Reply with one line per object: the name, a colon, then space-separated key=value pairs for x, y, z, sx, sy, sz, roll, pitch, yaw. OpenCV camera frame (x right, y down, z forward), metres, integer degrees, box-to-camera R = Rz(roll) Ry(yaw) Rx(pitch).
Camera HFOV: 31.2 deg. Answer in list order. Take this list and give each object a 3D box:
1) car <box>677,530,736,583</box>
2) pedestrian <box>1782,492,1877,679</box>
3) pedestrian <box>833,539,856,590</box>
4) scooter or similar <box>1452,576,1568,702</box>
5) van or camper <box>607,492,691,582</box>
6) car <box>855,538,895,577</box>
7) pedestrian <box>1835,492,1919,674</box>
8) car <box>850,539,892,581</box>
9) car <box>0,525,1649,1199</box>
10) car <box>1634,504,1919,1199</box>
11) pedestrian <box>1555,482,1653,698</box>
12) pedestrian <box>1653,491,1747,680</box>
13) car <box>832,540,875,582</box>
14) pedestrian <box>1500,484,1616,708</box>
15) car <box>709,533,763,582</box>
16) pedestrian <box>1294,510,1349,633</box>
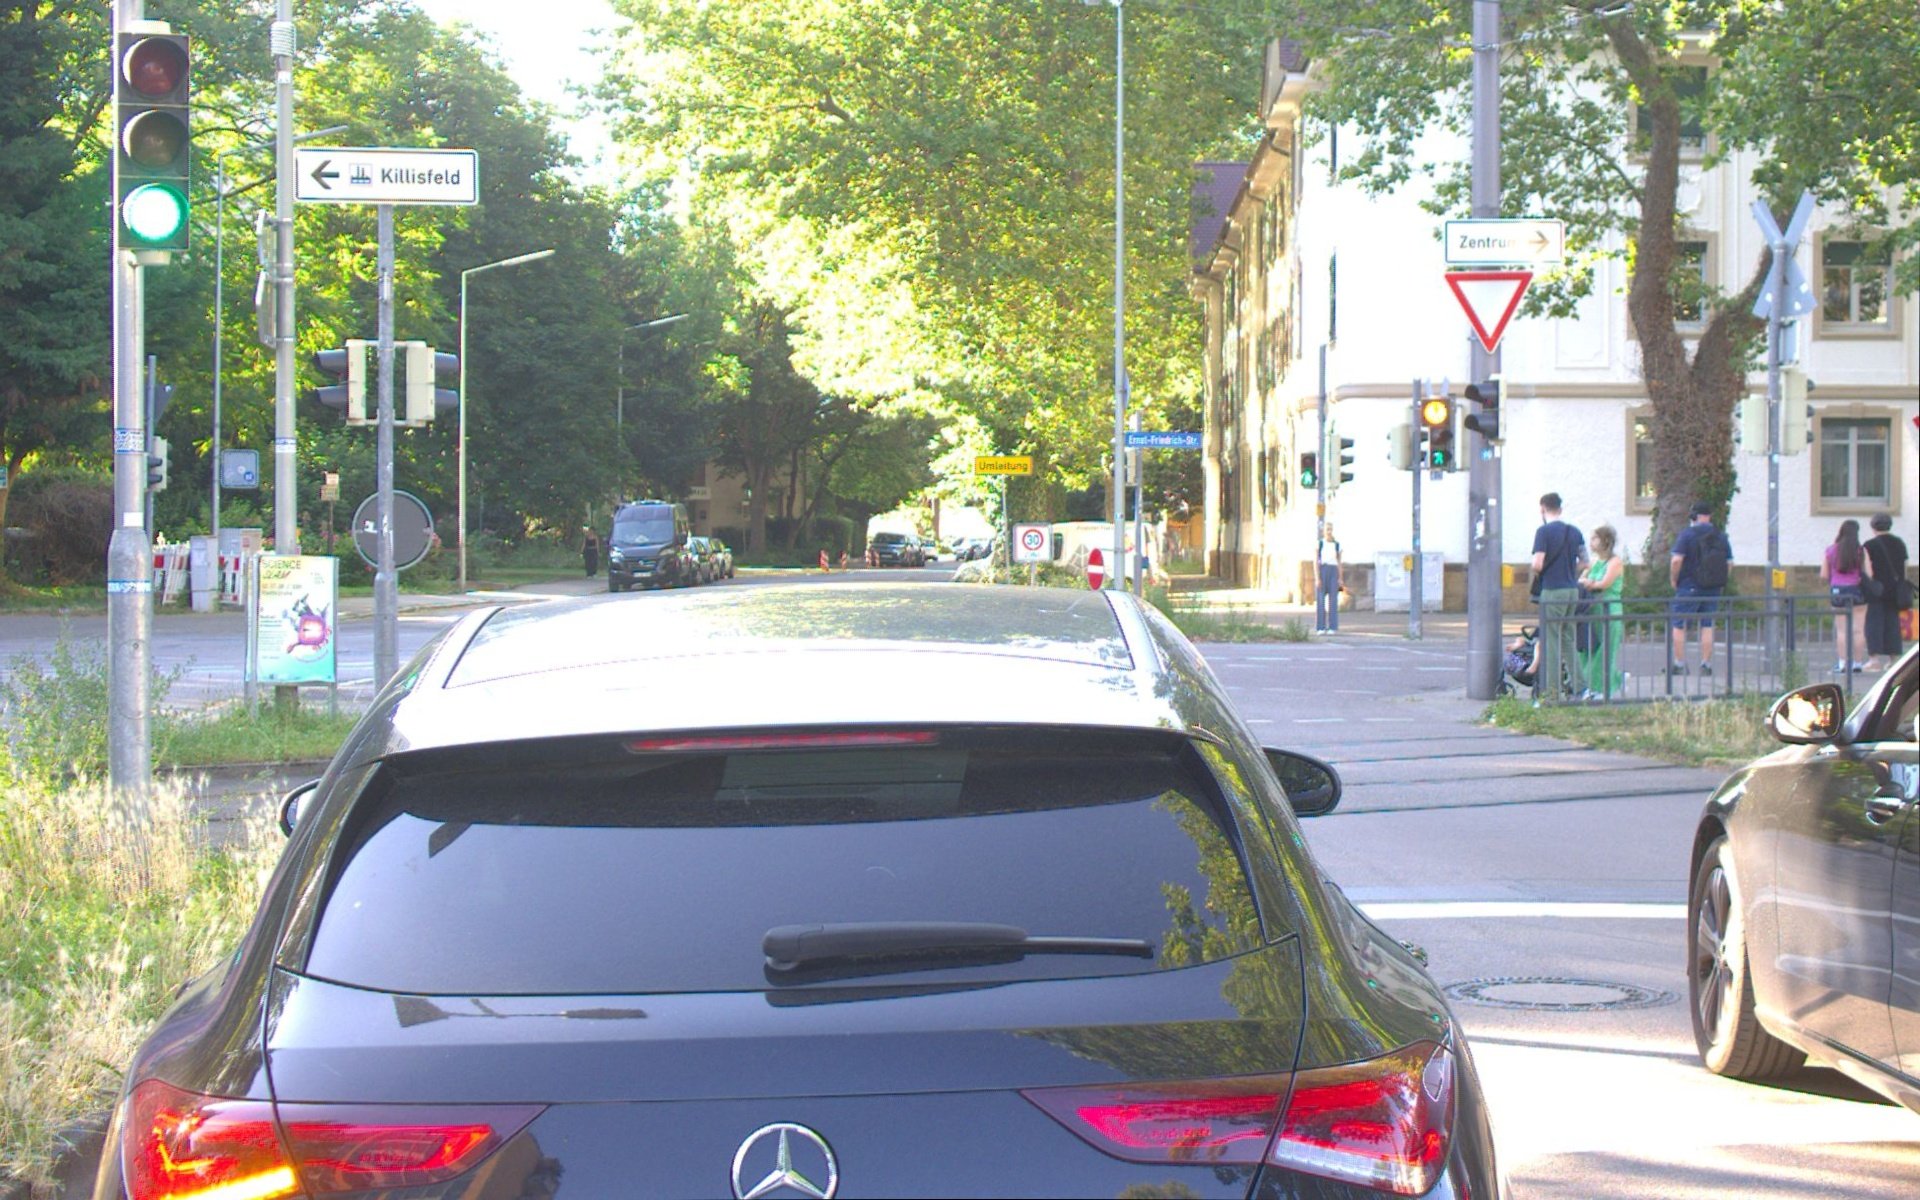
car: x=-8.614 y=-1.478 z=117.007 sx=1.733 sy=1.759 sz=4.085 roll=1 pitch=1 yaw=-1
pedestrian: x=9.020 y=-0.150 z=35.675 sx=0.705 sy=1.911 sz=0.839 roll=1 pitch=0 yaw=-4
pedestrian: x=-4.371 y=-1.326 z=130.031 sx=0.705 sy=1.911 sz=0.839 roll=1 pitch=0 yaw=-10
scooter or similar: x=4.912 y=0.343 z=30.718 sx=0.828 sy=1.101 sz=0.809 roll=1 pitch=0 yaw=-6
van or camper: x=-8.997 y=-1.806 z=99.742 sx=1.993 sy=2.532 sz=4.651 roll=1 pitch=1 yaw=0
car: x=-3.905 y=-1.972 z=158.470 sx=1.733 sy=1.759 sz=4.019 roll=1 pitch=1 yaw=-1
pedestrian: x=9.830 y=-0.179 z=36.674 sx=0.705 sy=1.911 sz=0.839 roll=1 pitch=0 yaw=-4
car: x=-3.883 y=-1.750 z=150.388 sx=1.733 sy=1.759 sz=4.019 roll=1 pitch=1 yaw=-1
car: x=-0.263 y=0.681 z=5.363 sx=1.889 sy=1.445 sz=4.001 roll=1 pitch=3 yaw=1
car: x=2.855 y=0.609 z=7.288 sx=1.889 sy=1.485 sz=4.382 roll=1 pitch=3 yaw=-1
pedestrian: x=5.782 y=-0.095 z=30.896 sx=0.682 sy=1.911 sz=0.707 roll=1 pitch=0 yaw=-4
pedestrian: x=7.598 y=-0.150 z=35.318 sx=0.705 sy=1.911 sz=0.839 roll=1 pitch=0 yaw=-4
car: x=-4.486 y=-1.649 z=145.568 sx=1.733 sy=1.759 sz=4.019 roll=1 pitch=1 yaw=-1
pedestrian: x=5.171 y=-0.040 z=29.744 sx=0.684 sy=1.911 sz=0.705 roll=1 pitch=1 yaw=44
car: x=-8.231 y=-1.568 z=126.408 sx=1.733 sy=1.759 sz=3.971 roll=1 pitch=1 yaw=-1
pedestrian: x=5.683 y=-0.452 z=54.114 sx=0.705 sy=1.911 sz=0.839 roll=1 pitch=0 yaw=-4
